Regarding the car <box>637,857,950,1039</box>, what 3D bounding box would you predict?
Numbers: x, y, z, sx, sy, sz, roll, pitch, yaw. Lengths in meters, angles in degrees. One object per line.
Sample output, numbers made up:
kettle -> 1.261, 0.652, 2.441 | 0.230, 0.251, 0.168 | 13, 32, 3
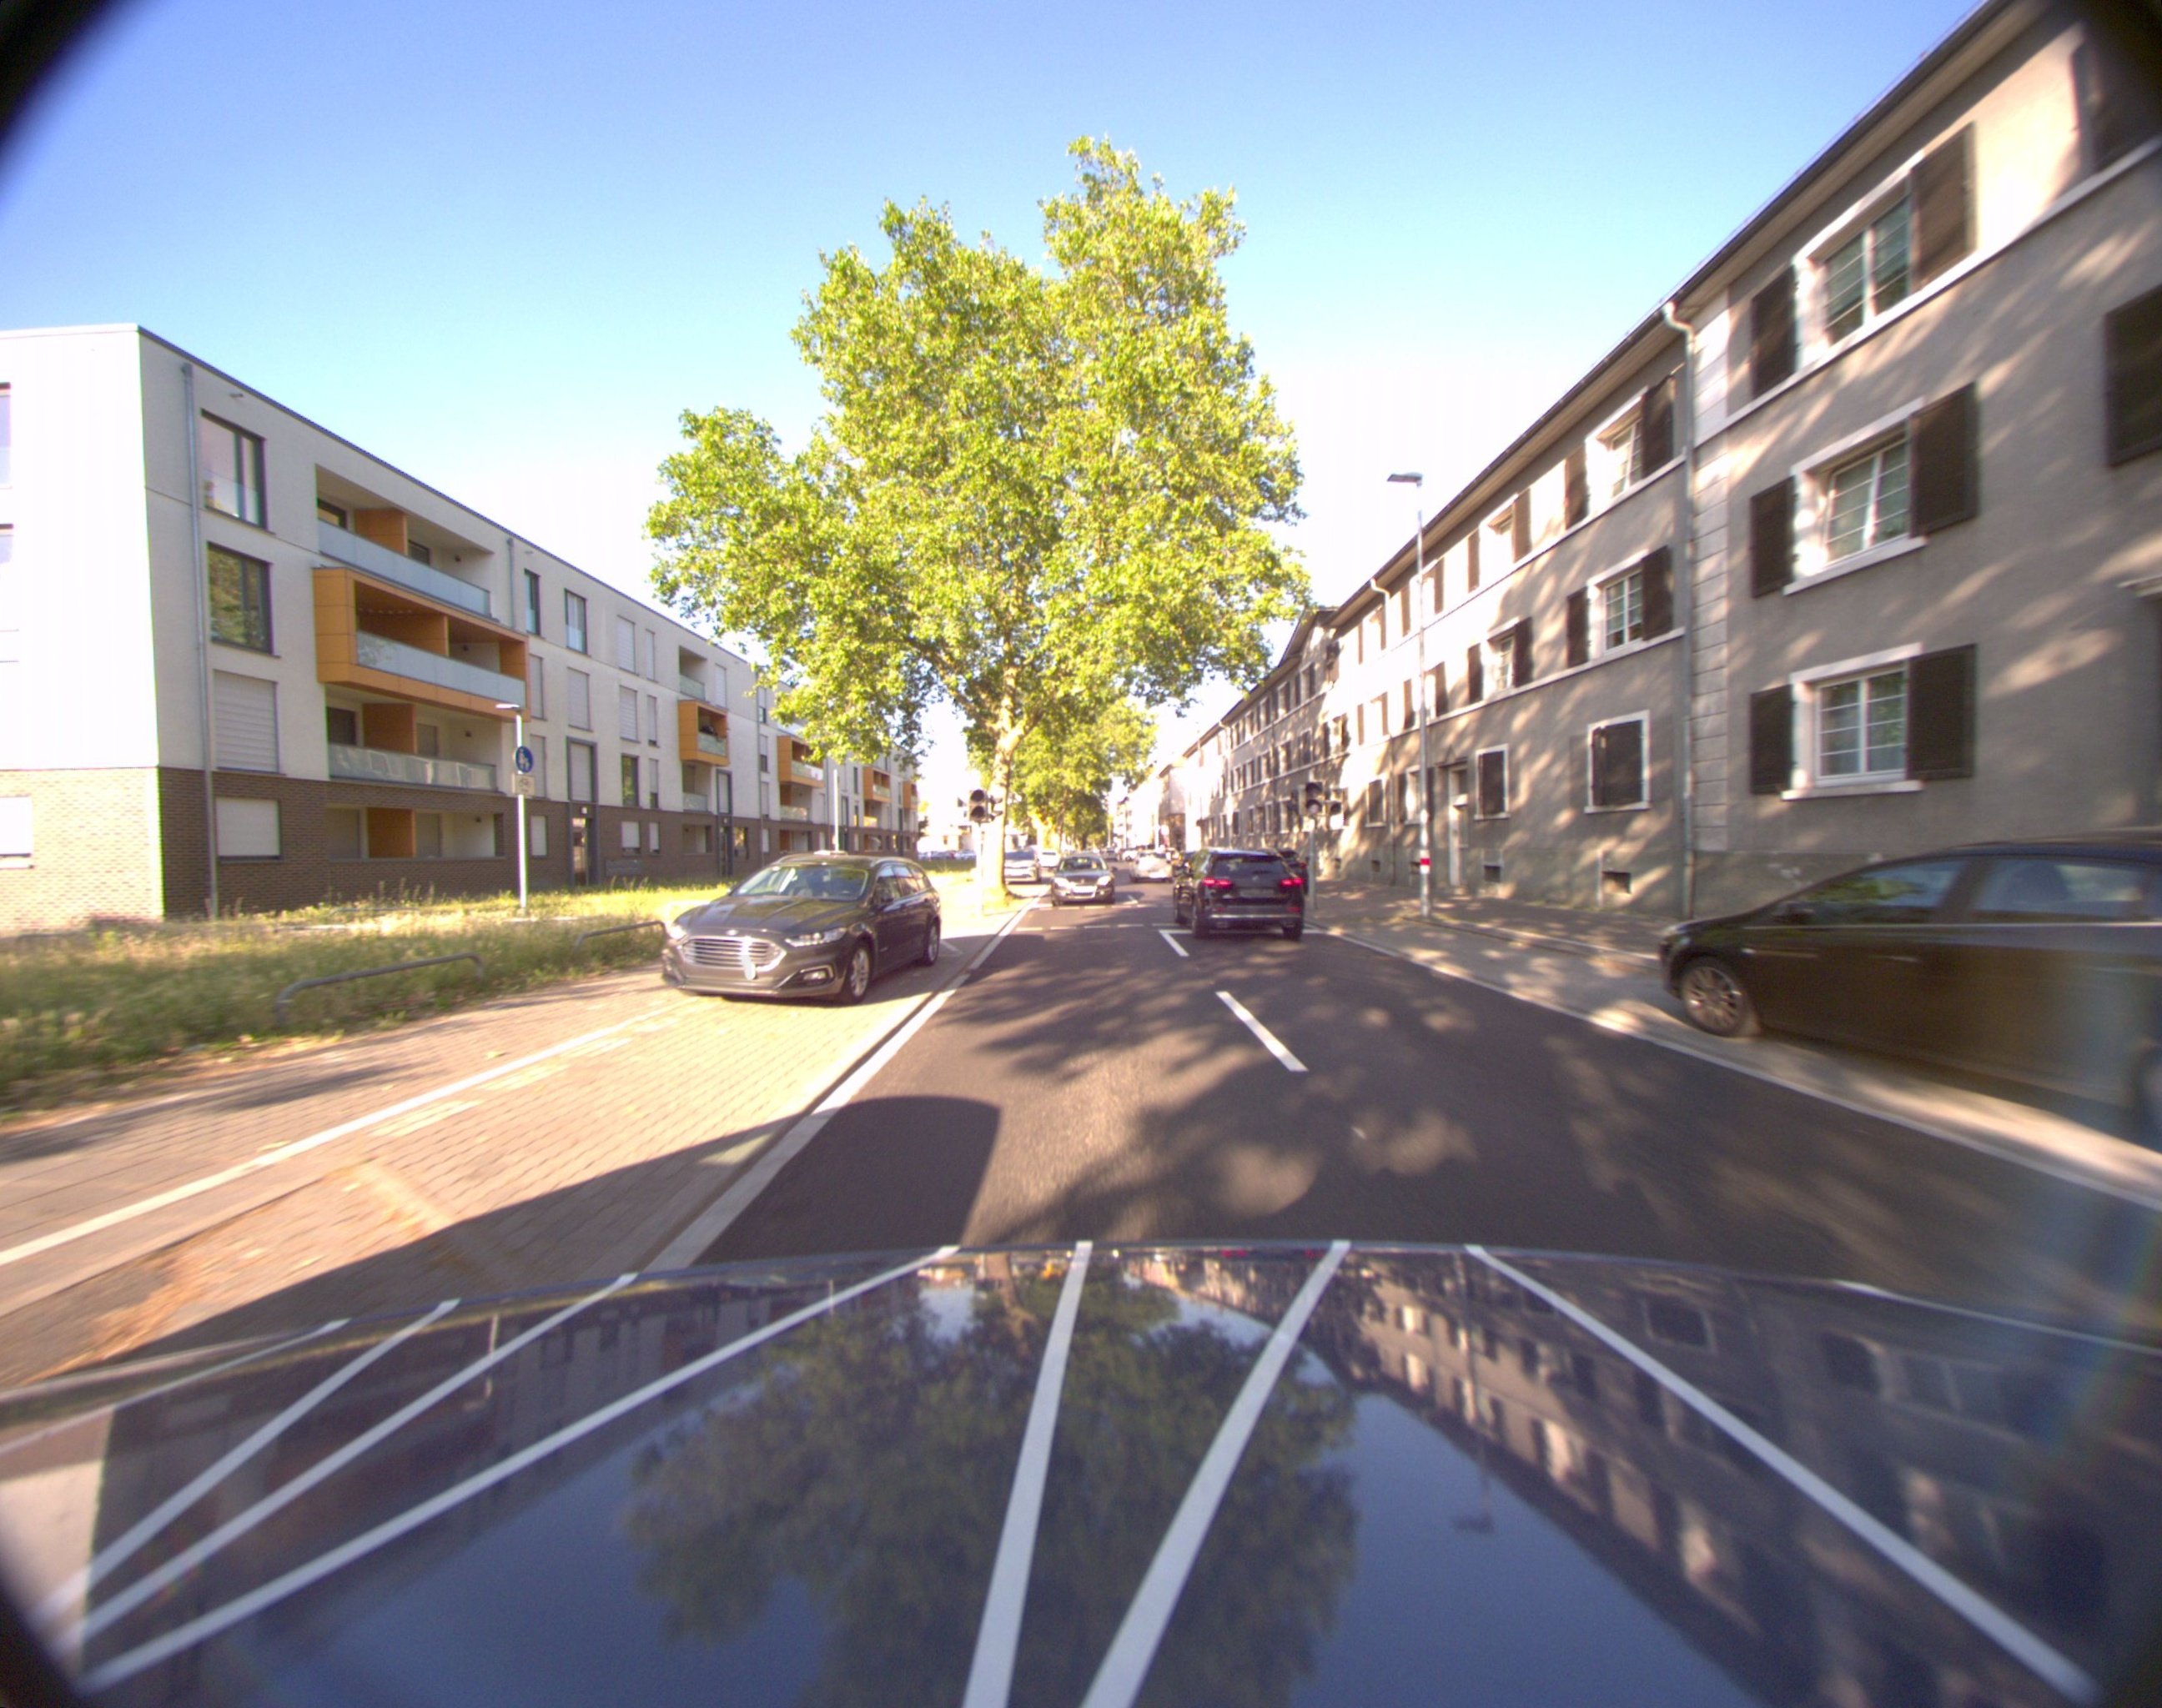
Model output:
car -> -2.934, 0.831, 9.003 | 1.704, 1.472, 4.697 | 2, 1, 3

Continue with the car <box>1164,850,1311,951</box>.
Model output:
car -> 2.752, 0.738, 14.272 | 1.901, 1.581, 4.068 | 0, 1, 0

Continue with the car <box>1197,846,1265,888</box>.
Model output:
car -> 5.997, 0.471, 30.913 | 1.870, 1.475, 4.086 | -3, 1, 0

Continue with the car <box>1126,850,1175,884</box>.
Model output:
car -> 3.226, 0.558, 35.938 | 1.870, 1.475, 4.086 | 0, 1, 0

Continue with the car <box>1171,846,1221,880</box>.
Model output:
car -> 5.929, 0.410, 39.622 | 1.870, 1.603, 4.085 | -2, 1, -1

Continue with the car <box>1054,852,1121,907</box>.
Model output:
car -> 0.127, 0.706, 23.377 | 1.870, 1.471, 4.085 | -1, 1, -2

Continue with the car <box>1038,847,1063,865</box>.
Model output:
car -> -2.476, 0.144, 63.166 | 1.885, 1.475, 3.999 | -1, 1, 0

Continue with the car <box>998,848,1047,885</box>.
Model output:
car -> -2.656, 0.524, 35.149 | 1.870, 1.603, 4.086 | 0, 1, 1

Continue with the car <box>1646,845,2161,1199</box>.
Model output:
car -> 5.648, 0.744, 4.350 | 1.711, 1.498, 4.052 | -3, 1, -1

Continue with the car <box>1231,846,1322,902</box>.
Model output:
car -> 5.999, 0.548, 23.807 | 1.869, 1.475, 4.086 | -4, 1, 2
